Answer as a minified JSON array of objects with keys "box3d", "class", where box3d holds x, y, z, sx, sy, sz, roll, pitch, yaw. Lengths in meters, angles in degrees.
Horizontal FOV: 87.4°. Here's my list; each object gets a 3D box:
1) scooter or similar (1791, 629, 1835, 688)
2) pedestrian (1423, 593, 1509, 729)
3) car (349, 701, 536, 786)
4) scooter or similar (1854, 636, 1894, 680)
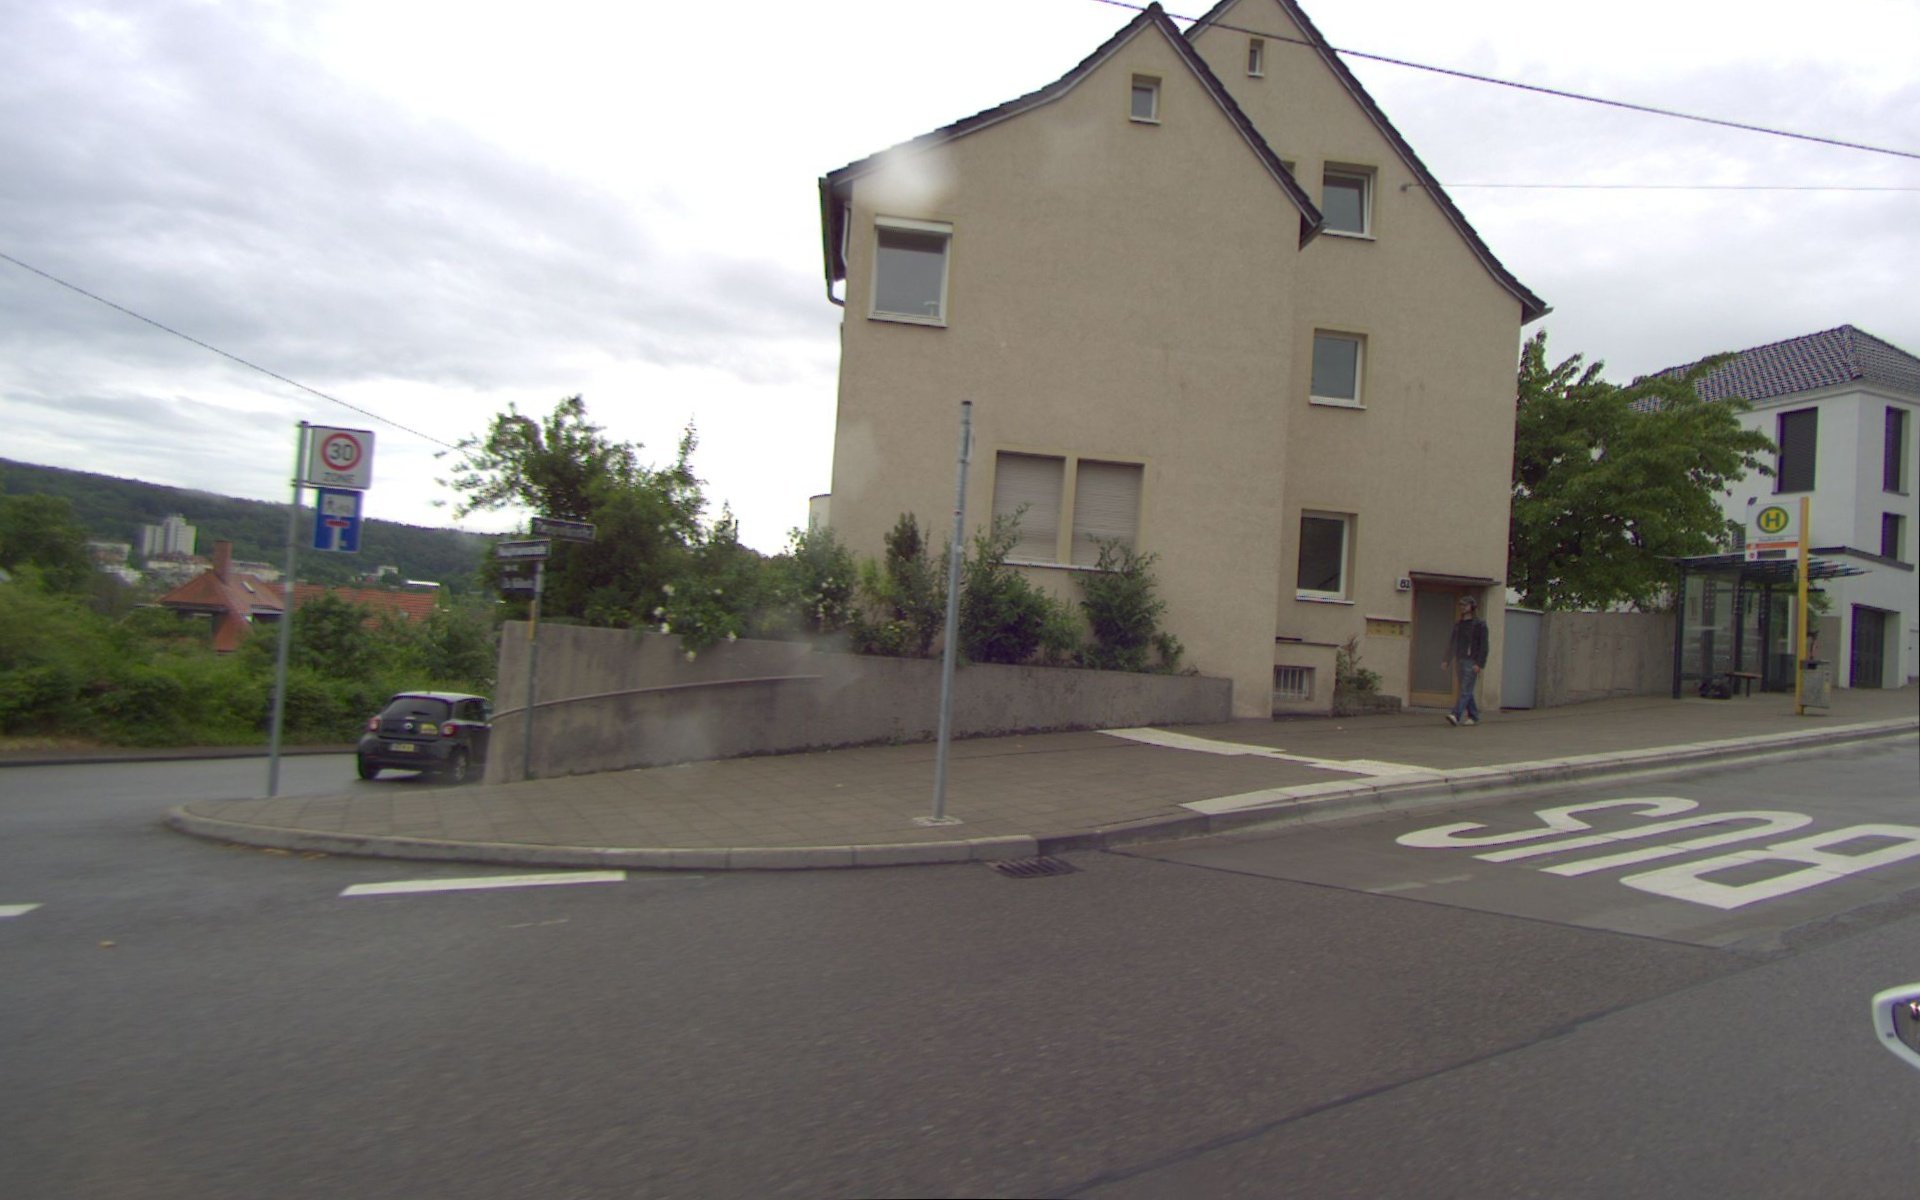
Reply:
[{"box3d":[18.314,1.259,21.572,1.109,1.236,0.336,2,0,-29],"class":"scooter or similar"},{"box3d":[7.277,0.852,14.463,0.719,1.882,0.783,2,0,-30],"class":"pedestrian"},{"box3d":[-9.436,2.629,18.697,1.623,1.286,4.000,5,-8,-6],"class":"car"},{"box3d":[23.649,1.493,25.992,1.298,1.124,0.427,2,0,-32],"class":"scooter or similar"}]
